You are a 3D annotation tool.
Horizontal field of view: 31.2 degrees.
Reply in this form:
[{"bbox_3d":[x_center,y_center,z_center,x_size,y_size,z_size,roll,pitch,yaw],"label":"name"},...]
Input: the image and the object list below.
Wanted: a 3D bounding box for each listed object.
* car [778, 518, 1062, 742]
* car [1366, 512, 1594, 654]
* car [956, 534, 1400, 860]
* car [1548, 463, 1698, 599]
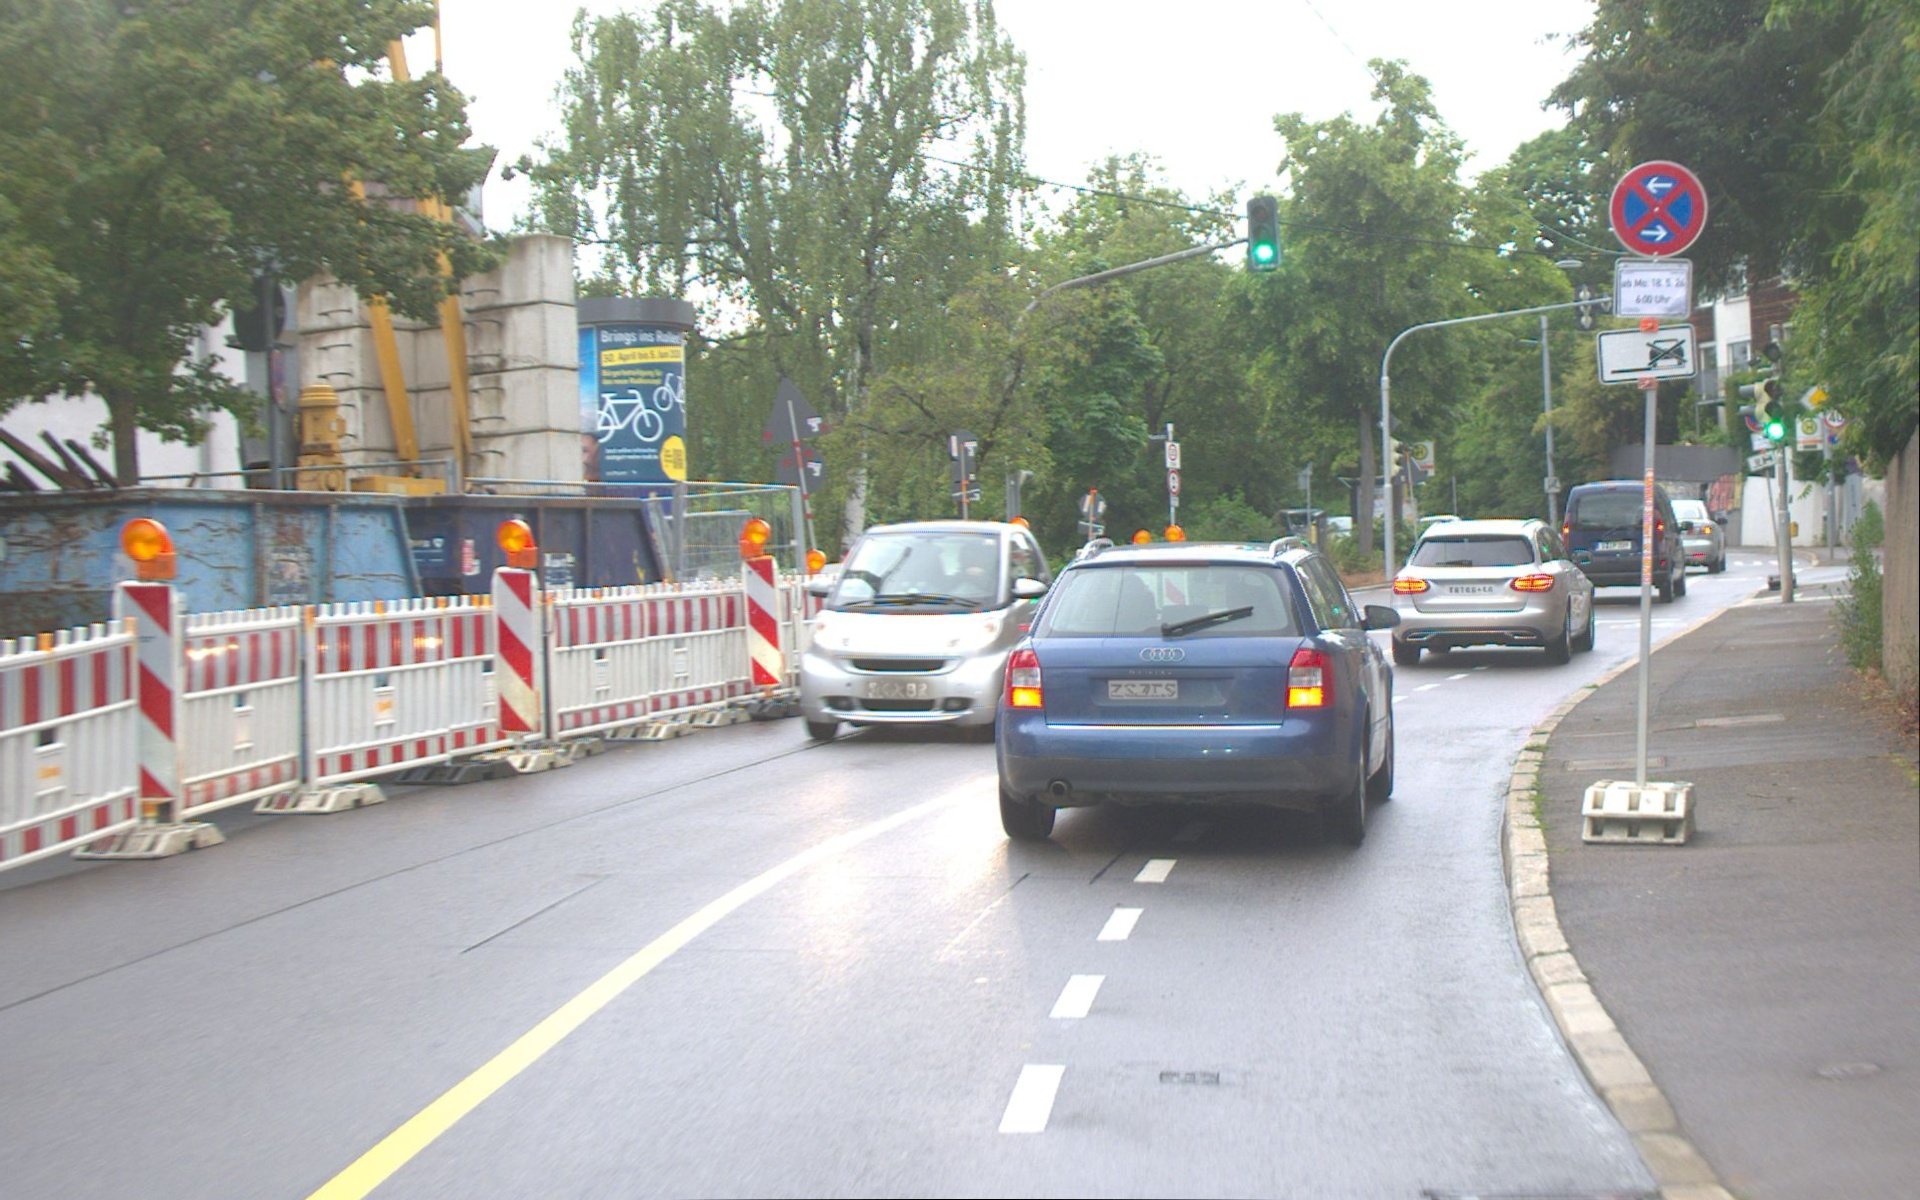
[{"bbox_3d":[-0.238,0.176,24.996,1.456,1.521,2.922,0,1,12],"label":"car"},{"bbox_3d":[5.505,-0.191,35.975,1.910,1.383,4.347,0,1,15],"label":"car"},{"bbox_3d":[1.218,0.389,17.352,1.778,1.434,3.998,0,1,10],"label":"car"},{"bbox_3d":[10.157,-1.082,52.469,1.732,1.888,4.052,-3,1,17],"label":"car"}]
